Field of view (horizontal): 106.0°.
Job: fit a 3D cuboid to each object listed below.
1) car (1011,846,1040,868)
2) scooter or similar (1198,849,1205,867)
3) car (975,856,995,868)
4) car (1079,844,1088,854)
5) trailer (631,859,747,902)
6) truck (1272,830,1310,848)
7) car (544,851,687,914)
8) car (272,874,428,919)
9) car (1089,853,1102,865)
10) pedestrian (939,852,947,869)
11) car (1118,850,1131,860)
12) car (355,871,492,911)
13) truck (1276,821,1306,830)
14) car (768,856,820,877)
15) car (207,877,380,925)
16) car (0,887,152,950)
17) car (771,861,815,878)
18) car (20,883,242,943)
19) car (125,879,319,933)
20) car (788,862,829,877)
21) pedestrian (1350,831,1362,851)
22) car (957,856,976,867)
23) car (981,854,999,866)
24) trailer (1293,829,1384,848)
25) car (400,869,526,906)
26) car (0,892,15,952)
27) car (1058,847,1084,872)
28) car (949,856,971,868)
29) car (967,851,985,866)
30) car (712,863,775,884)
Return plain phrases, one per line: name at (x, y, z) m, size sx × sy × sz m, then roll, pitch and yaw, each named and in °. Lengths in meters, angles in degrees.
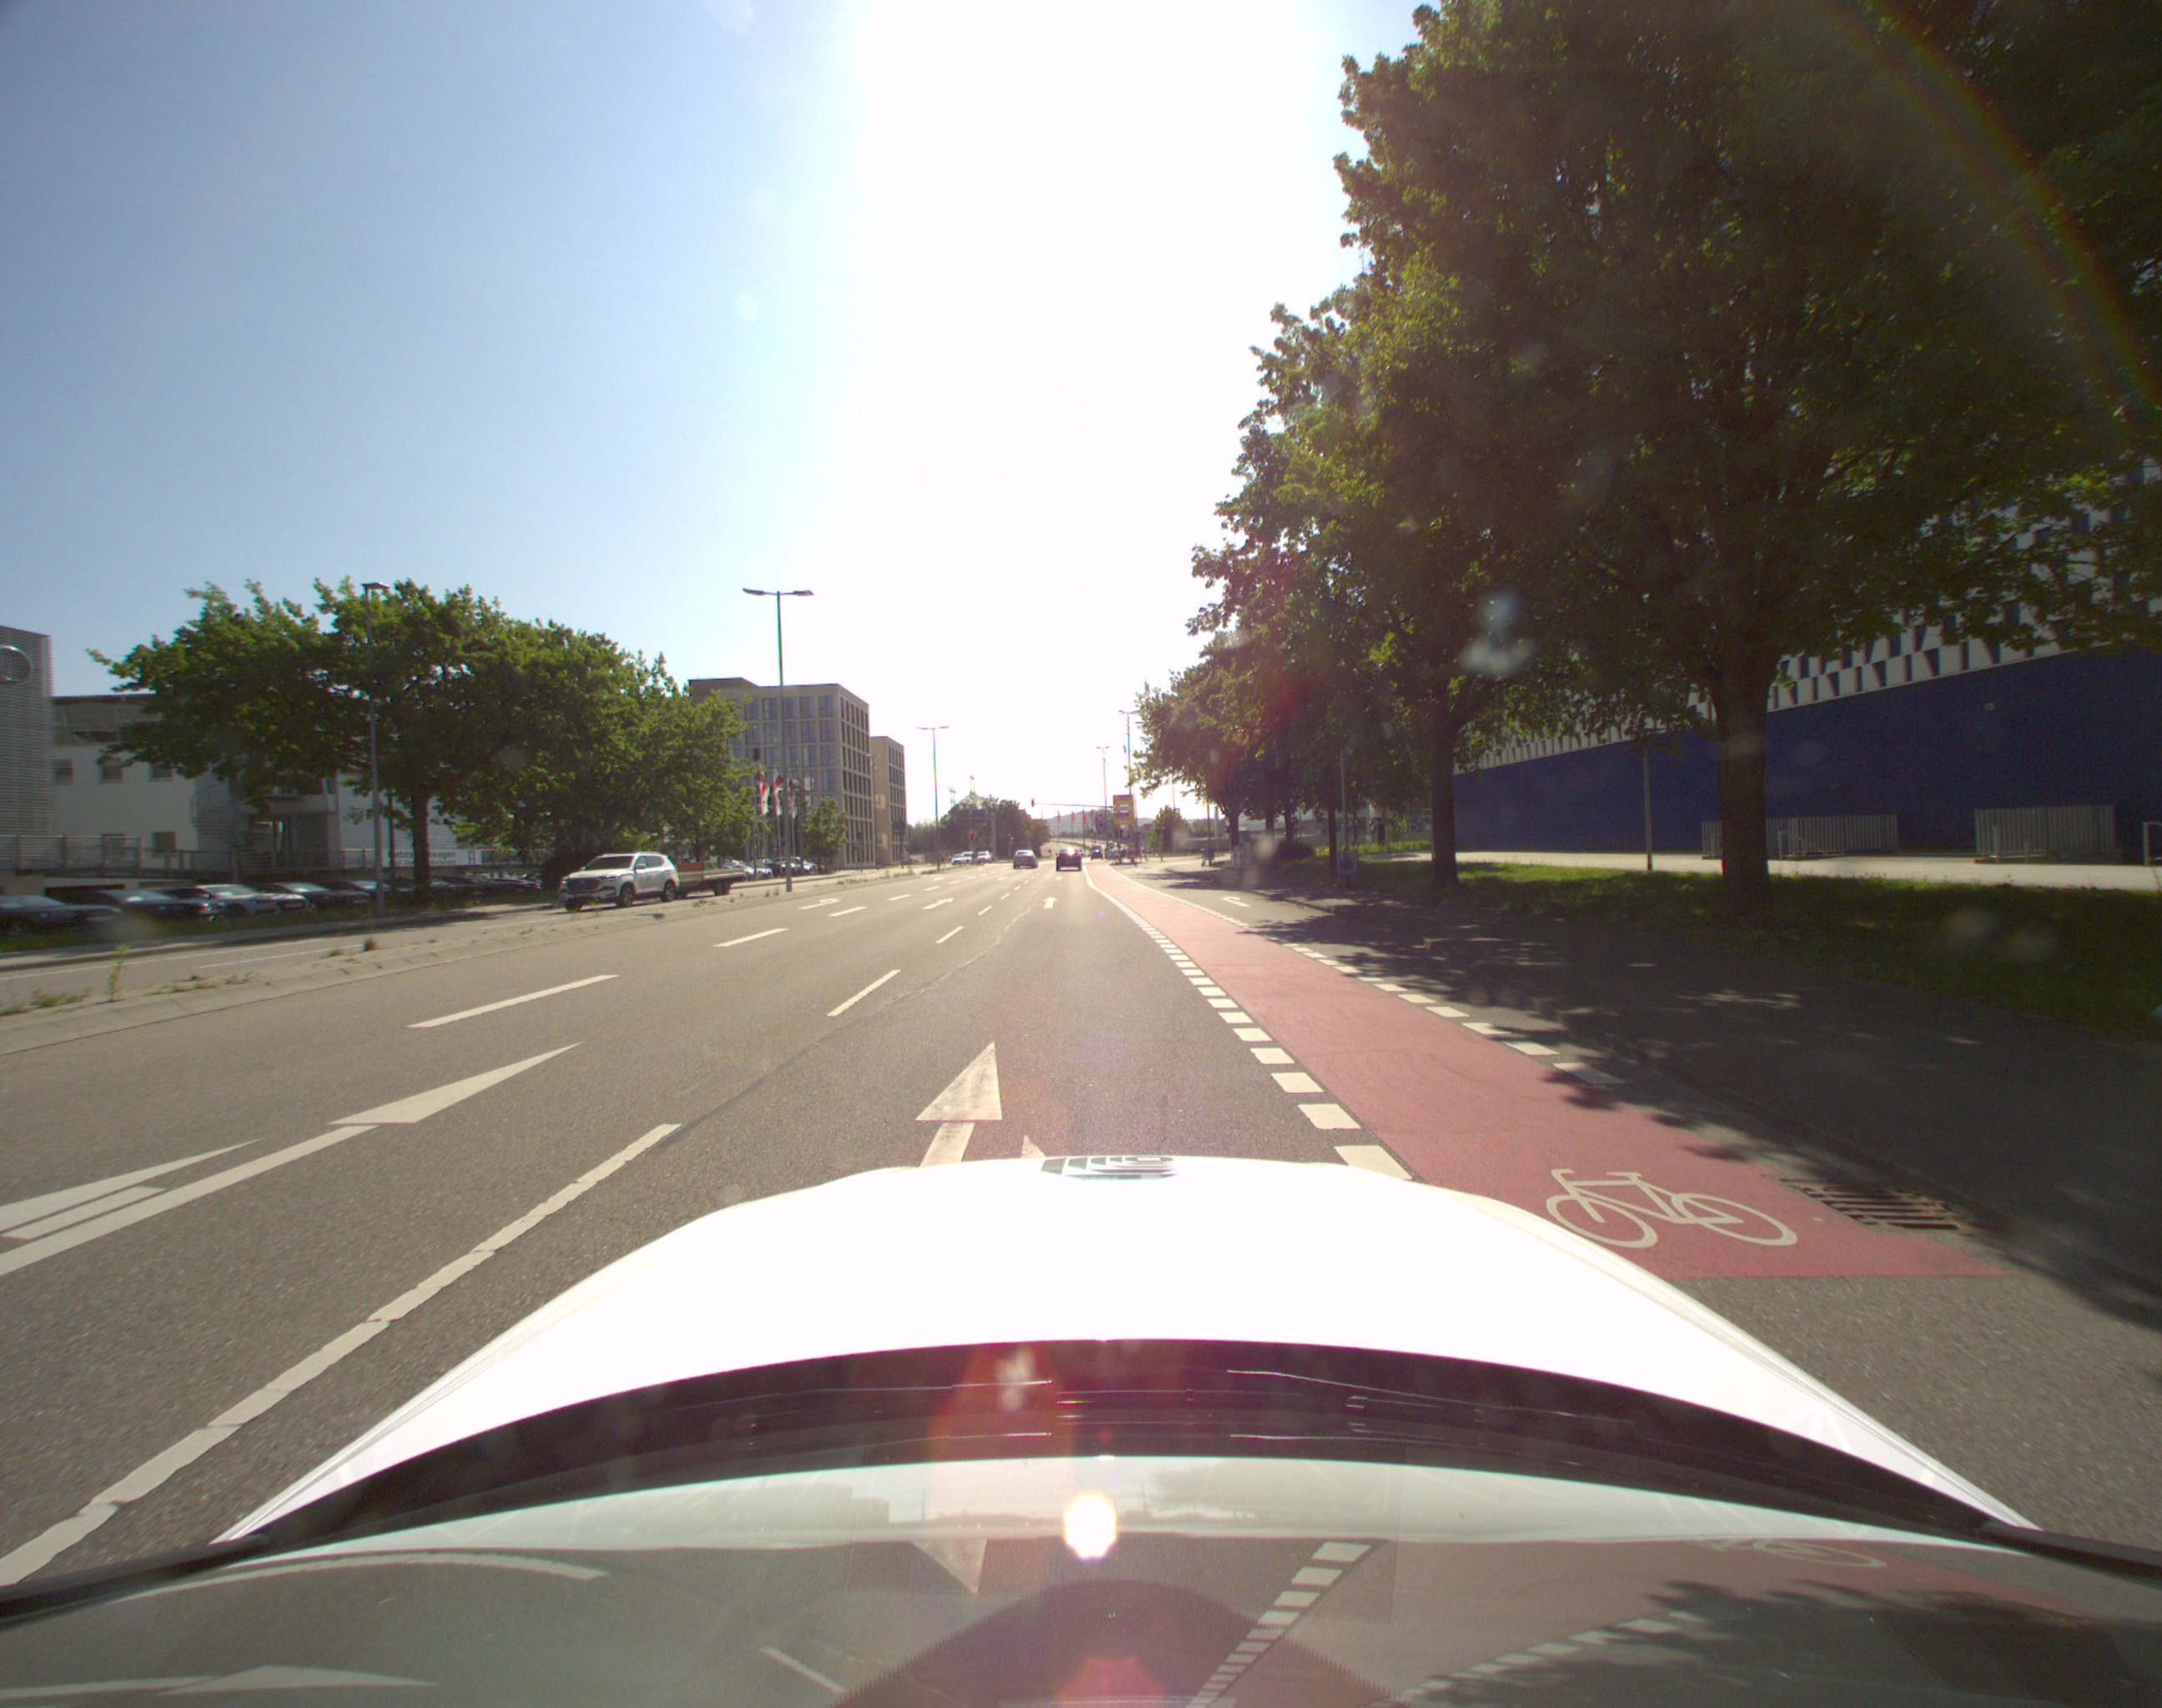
car at (-4.591, 0.241, 67.468) m, size 1.987 × 1.684 × 4.001 m, roll -2°, pitch 0°, yaw 1°
scooter or similar at (8.510, 0.246, 57.384) m, size 0.348 × 1.233 × 1.316 m, roll -3°, pitch 0°, yaw 14°
car at (-12.833, 1.001, 109.123) m, size 1.807 × 1.464 × 4.005 m, roll -3°, pitch 0°, yaw 5°
car at (0.489, -1.096, 177.169) m, size 1.987 × 2.013 × 3.982 m, roll 0°, pitch 1°, yaw 1°
trailer at (-15.604, 0.990, 32.845) m, size 1.988 × 1.453 × 5.768 m, roll -2°, pitch 0°, yaw -2°
truck at (28.785, -2.090, 111.739) m, size 4.859 × 2.423 × 2.003 m, roll 0°, pitch 1°, yaw 4°
car at (-15.454, 0.850, 27.413) m, size 1.988 × 1.832 × 4.934 m, roll -2°, pitch 0°, yaw -2°
car at (-27.097, 1.563, 30.295) m, size 3.974 × 1.376 × 1.924 m, roll -3°, pitch 0°, yaw 0°
car at (2.086, 0.715, 118.829) m, size 1.753 × 1.758 × 3.600 m, roll 0°, pitch 1°, yaw -3°
pedestrian at (-17.047, 0.779, 100.880) m, size 0.759 × 2.013 × 0.927 m, roll -1°, pitch 1°, yaw -25°
car at (6.045, 0.110, 112.545) m, size 1.682 × 1.359 × 4.003 m, roll 0°, pitch 2°, yaw 2°
car at (-26.940, 1.505, 33.452) m, size 3.974 × 1.376 × 1.924 m, roll -3°, pitch 0°, yaw 0°
truck at (44.578, -6.089, 173.145) m, size 5.886 × 2.013 × 2.001 m, roll 0°, pitch 1°, yaw 2°
car at (-31.652, 1.381, 89.846) m, size 4.897 × 2.050 × 2.001 m, roll -2°, pitch 0°, yaw 1°
car at (-26.999, 1.585, 28.026) m, size 3.974 × 1.376 × 1.924 m, roll -3°, pitch 0°, yaw 0°
car at (-26.967, 1.674, 20.880) m, size 3.974 × 1.376 × 1.924 m, roll -3°, pitch 0°, yaw 0°
car at (-26.387, 1.432, 74.626) m, size 3.398 × 1.343 × 1.646 m, roll -2°, pitch 0°, yaw 2°
car at (-26.928, 1.651, 23.206) m, size 3.974 × 1.376 × 1.924 m, roll -3°, pitch 0°, yaw 0°
car at (-26.915, 1.610, 25.638) m, size 3.974 × 1.376 × 1.924 m, roll -3°, pitch 0°, yaw 0°
car at (-31.136, 1.764, 93.185) m, size 3.972 × 1.464 × 2.001 m, roll -2°, pitch 0°, yaw 1°
pedestrian at (24.615, -1.143, 72.864) m, size 0.627 × 1.770 × 0.802 m, roll -3°, pitch 0°, yaw -11°
car at (-16.181, 1.017, 115.413) m, size 1.807 × 1.464 × 4.005 m, roll -3°, pitch 0°, yaw 5°
car at (-12.976, 0.836, 116.096) m, size 1.807 × 1.464 × 4.005 m, roll -3°, pitch 0°, yaw 5°
trailer at (35.137, -2.107, 111.329) m, size 11.817 × 2.469 × 2.003 m, roll 0°, pitch 1°, yaw 4°
car at (-27.186, 1.453, 35.915) m, size 3.974 × 1.376 × 1.924 m, roll -3°, pitch 0°, yaw 0°
car at (-27.117, 1.672, 18.193) m, size 3.974 × 1.376 × 1.924 m, roll -3°, pitch 0°, yaw 0°
car at (-0.726, 0.376, 59.914) m, size 1.802 × 1.640 × 4.457 m, roll -3°, pitch 0°, yaw -1°
car at (-16.003, 1.046, 107.921) m, size 1.883 × 1.464 × 4.005 m, roll -3°, pitch 0°, yaw 5°
car at (-10.039, 0.406, 78.047) m, size 1.211 × 1.331 × 2.801 m, roll 0°, pitch 2°, yaw 2°
car at (-26.378, 1.520, 63.777) m, size 3.975 × 1.343 × 1.999 m, roll -3°, pitch 0°, yaw -1°
